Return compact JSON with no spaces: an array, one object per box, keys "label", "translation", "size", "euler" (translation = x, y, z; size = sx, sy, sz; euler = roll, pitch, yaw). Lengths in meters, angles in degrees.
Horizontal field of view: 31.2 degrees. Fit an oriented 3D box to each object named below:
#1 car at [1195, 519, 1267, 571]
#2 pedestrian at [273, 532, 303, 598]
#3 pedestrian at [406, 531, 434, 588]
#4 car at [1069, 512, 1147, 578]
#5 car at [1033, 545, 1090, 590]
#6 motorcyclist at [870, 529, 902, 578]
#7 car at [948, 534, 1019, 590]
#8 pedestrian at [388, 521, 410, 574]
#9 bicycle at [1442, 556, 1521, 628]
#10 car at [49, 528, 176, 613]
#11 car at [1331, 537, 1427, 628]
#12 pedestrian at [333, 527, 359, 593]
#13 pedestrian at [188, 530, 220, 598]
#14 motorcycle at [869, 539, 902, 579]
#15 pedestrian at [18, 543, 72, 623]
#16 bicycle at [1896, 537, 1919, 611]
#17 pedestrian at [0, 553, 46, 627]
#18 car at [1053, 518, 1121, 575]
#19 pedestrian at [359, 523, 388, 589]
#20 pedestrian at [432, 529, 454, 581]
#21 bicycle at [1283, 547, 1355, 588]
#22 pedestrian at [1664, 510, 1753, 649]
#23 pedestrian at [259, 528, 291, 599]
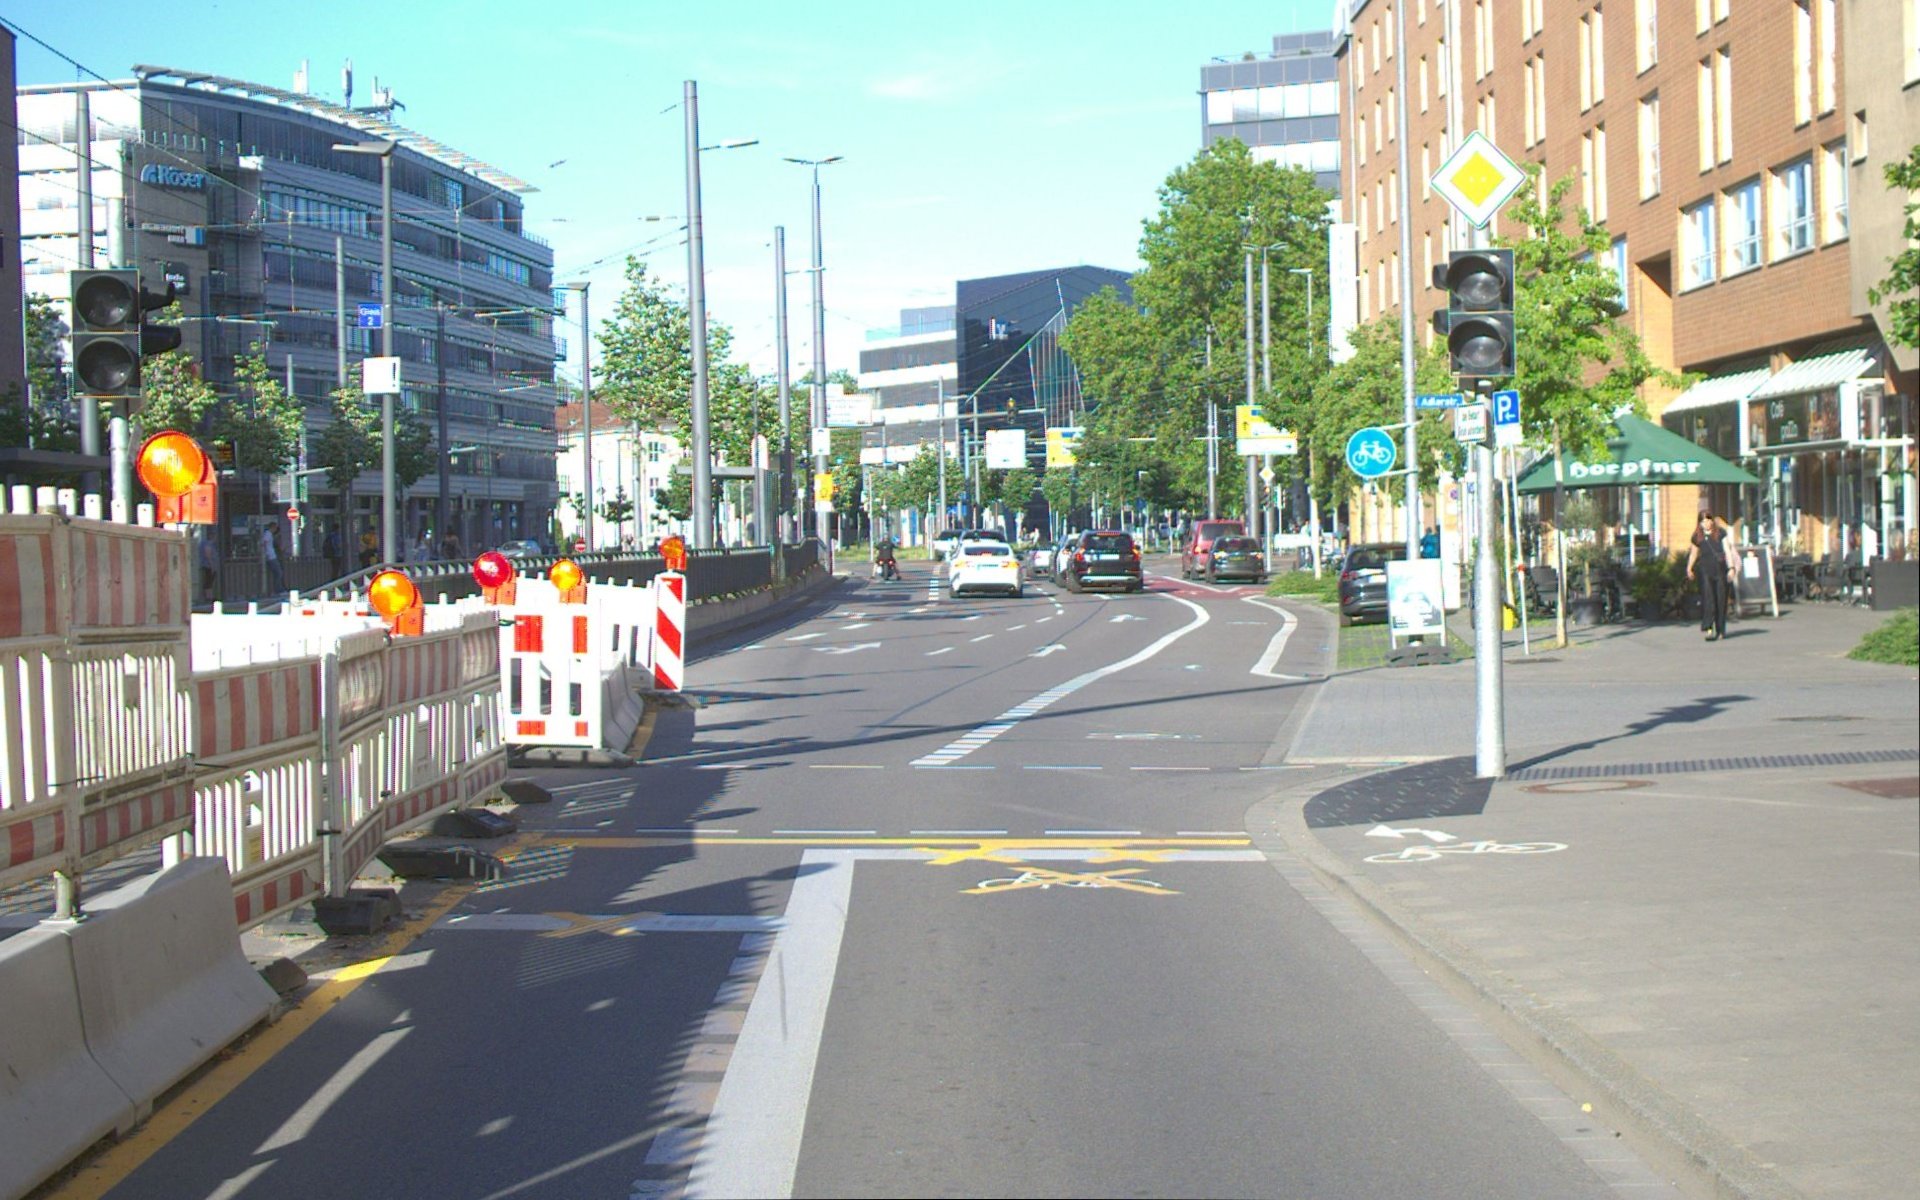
[{"label":"car","translation":[8.428,-1.734,107.221],"size":[1.846,1.555,4.633],"euler":[1,1,0]},{"label":"pedestrian","translation":[-16.323,-0.859,83.516],"size":[0.622,1.606,0.616],"euler":[0,1,0]},{"label":"pedestrian","translation":[-15.781,-1.180,100.519],"size":[0.640,1.637,0.945],"euler":[1,1,0]},{"label":"car","translation":[4.072,-1.527,95.193],"size":[1.975,1.753,4.633],"euler":[1,1,0]},{"label":"car","translation":[3.530,-1.151,119.984],"size":[1.851,1.492,4.379],"euler":[0,1,0]},{"label":"motorcyclist","translation":[-2.491,-1.565,115.251],"size":[1.019,1.598,1.148],"euler":[1,1,0]},{"label":"car","translation":[0.586,-1.010,89.599],"size":[1.780,1.409,4.819],"euler":[1,1,0]},{"label":"pedestrian","translation":[-17.119,-1.603,104.866],"size":[0.563,1.603,0.616],"euler":[0,1,0]},{"label":"bicycle","translation":[8.516,-0.121,56.177],"size":[0.765,1.077,1.998],"euler":[-6,0,-3]},{"label":"car","translation":[-19.297,-0.688,78.451],"size":[1.993,1.874,4.584],"euler":[-1,1,-3]},{"label":"car","translation":[8.033,-0.362,66.108],"size":[1.721,1.631,4.230],"euler":[-2,1,6]},{"label":"pedestrian","translation":[-16.169,-1.053,90.546],"size":[0.582,1.732,0.616],"euler":[0,1,0]},{"label":"pedestrian","translation":[-16.308,-0.775,74.179],"size":[0.539,1.454,0.642],"euler":[1,1,0]},{"label":"motorcycle","translation":[-2.487,-1.392,115.266],"size":[1.019,1.307,2.915],"euler":[1,1,0]},{"label":"pedestrian","translation":[-15.403,-0.286,57.856],"size":[0.646,1.304,0.721],"euler":[-3,1,0]},{"label":"bicycle","translation":[15.503,-0.422,54.824],"size":[0.613,1.165,1.537],"euler":[-3,1,-3]},{"label":"pedestrian","translation":[-15.323,-0.169,55.818],"size":[0.721,1.164,0.721],"euler":[-3,1,0]},{"label":"car","translation":[3.772,-1.595,102.749],"size":[1.851,1.634,4.379],"euler":[-1,1,0]},{"label":"pedestrian","translation":[-15.172,-1.141,88.880],"size":[0.640,1.690,0.541],"euler":[1,1,0]},{"label":"pedestrian","translation":[-18.037,-1.576,119.892],"size":[0.614,1.811,0.897],"euler":[0,1,0]},{"label":"bicycle","translation":[10.111,-0.921,96.815],"size":[1.946,1.071,0.554],"euler":[-2,0,11]},{"label":"pedestrian","translation":[9.851,-0.274,45.217],"size":[0.885,1.757,1.104],"euler":[-3,0,22]},{"label":"pedestrian","translation":[-16.440,-0.876,82.496],"size":[0.622,1.709,0.616],"euler":[0,1,0]}]
